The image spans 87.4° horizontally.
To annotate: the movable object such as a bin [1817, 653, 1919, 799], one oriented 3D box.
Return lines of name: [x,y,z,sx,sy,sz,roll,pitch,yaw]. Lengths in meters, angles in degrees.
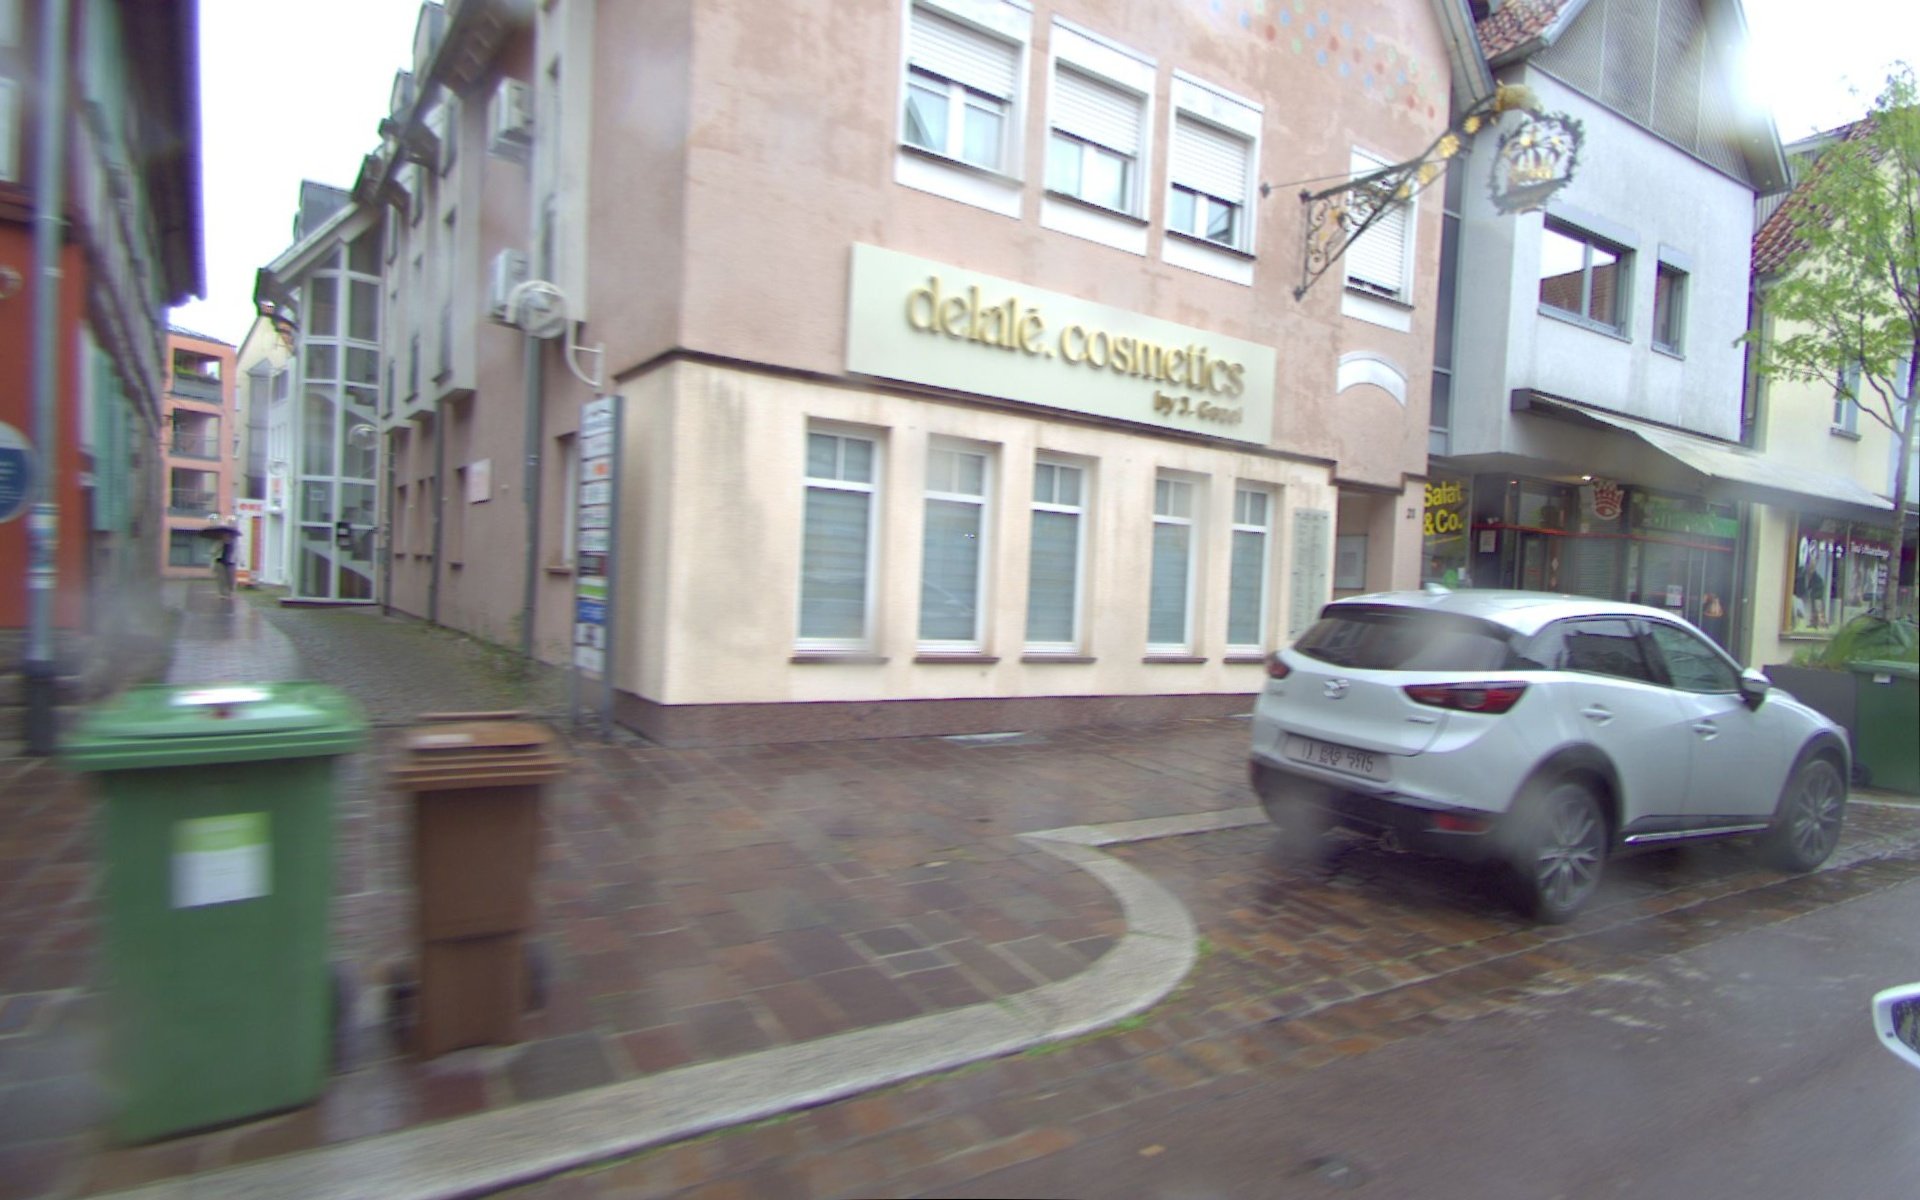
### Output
movable object such as a bin: [7.944,1.046,8.512,0.684,1.099,0.783,1,3,-27]

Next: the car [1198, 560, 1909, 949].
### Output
car: [3.581,0.661,5.959,4.070,1.559,1.684,1,5,-29]

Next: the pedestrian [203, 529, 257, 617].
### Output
pedestrian: [-17.765,-0.666,24.449,0.957,2.040,1.040,3,2,-39]

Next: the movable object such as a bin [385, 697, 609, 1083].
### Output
movable object such as a bin: [-1.430,0.814,3.073,0.494,0.951,0.605,3,2,-34]

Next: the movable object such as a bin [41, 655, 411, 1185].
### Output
movable object such as a bin: [-1.921,0.733,2.701,0.669,1.096,0.764,3,1,-34]
